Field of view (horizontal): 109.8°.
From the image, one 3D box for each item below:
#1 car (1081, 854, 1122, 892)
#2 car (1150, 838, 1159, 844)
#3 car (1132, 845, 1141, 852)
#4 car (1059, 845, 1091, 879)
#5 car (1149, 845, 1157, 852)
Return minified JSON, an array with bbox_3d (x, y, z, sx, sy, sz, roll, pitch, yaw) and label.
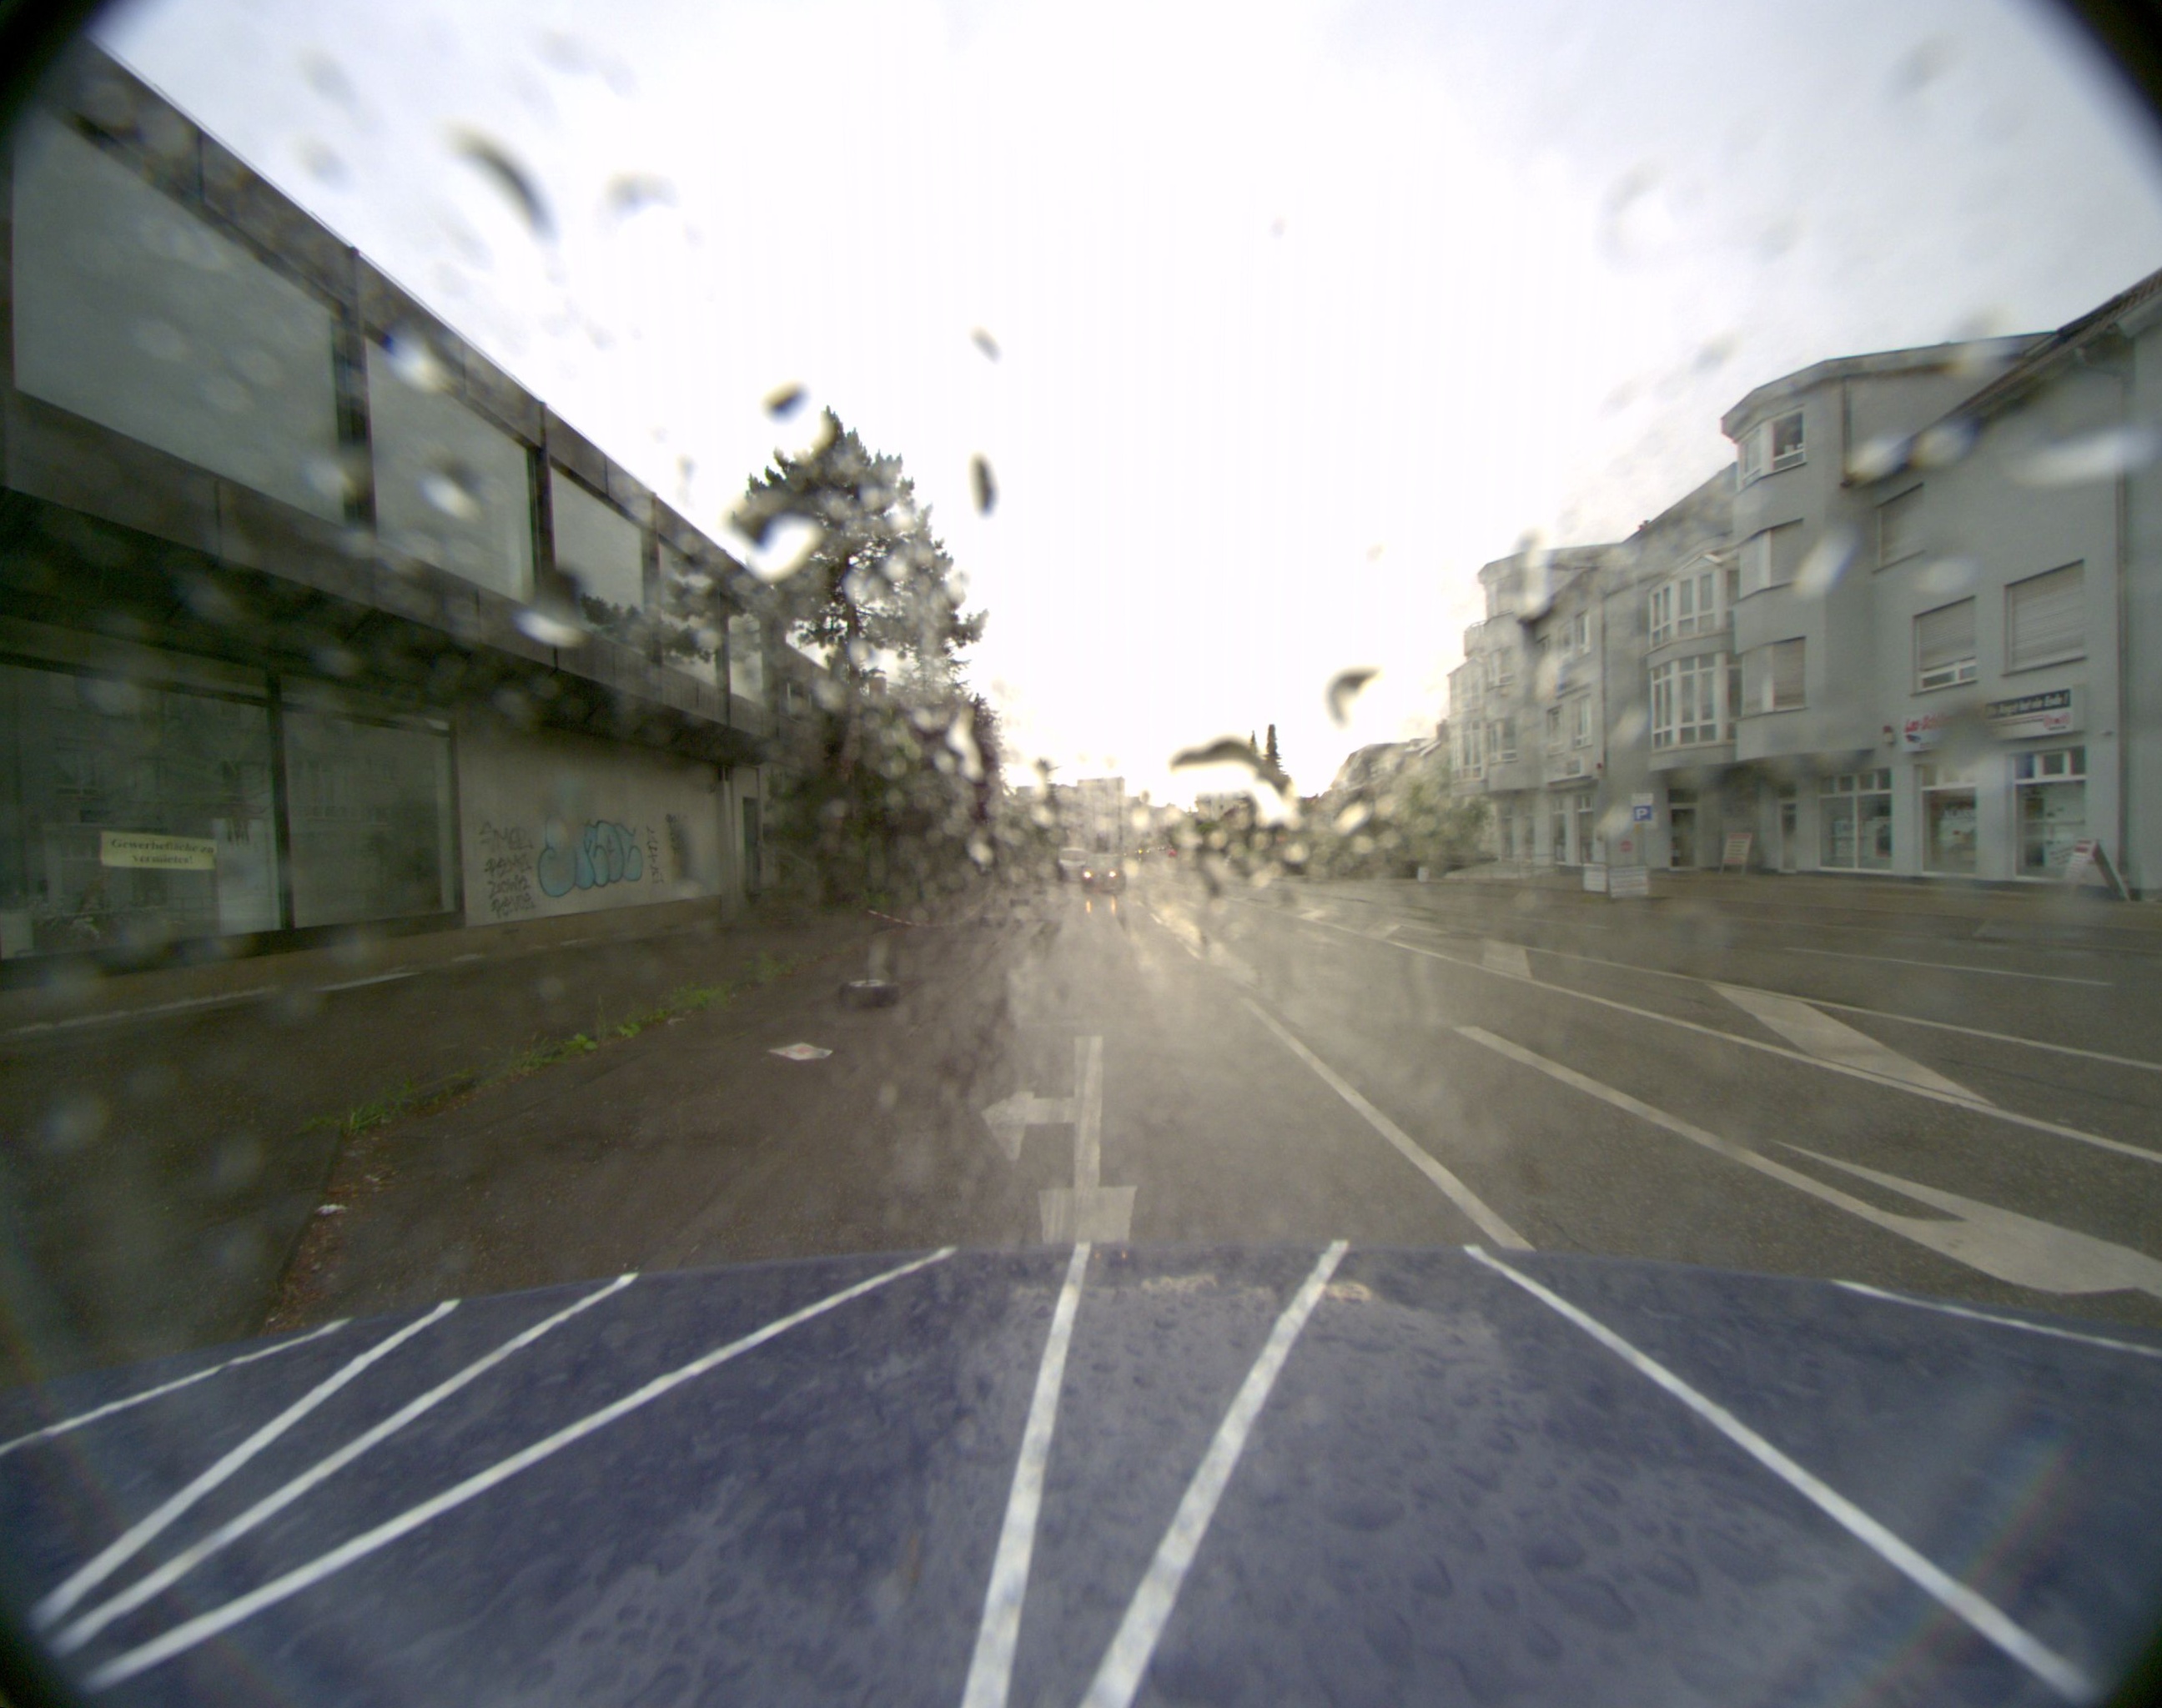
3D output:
[{"bbox_3d":[0.936,0.837,35.670,1.754,1.534,4.676,-1,1,1],"label":"car"},{"bbox_3d":[23.439,-4.057,242.037,1.996,1.808,4.003,-2,1,14],"label":"car"},{"bbox_3d":[15.220,-1.520,207.779,1.998,1.723,3.999,-2,1,1],"label":"car"},{"bbox_3d":[-0.355,0.473,50.414,1.998,2.072,3.999,-2,1,1],"label":"car"},{"bbox_3d":[21.173,-1.585,223.451,1.998,1.774,4.000,-2,1,3],"label":"car"}]
